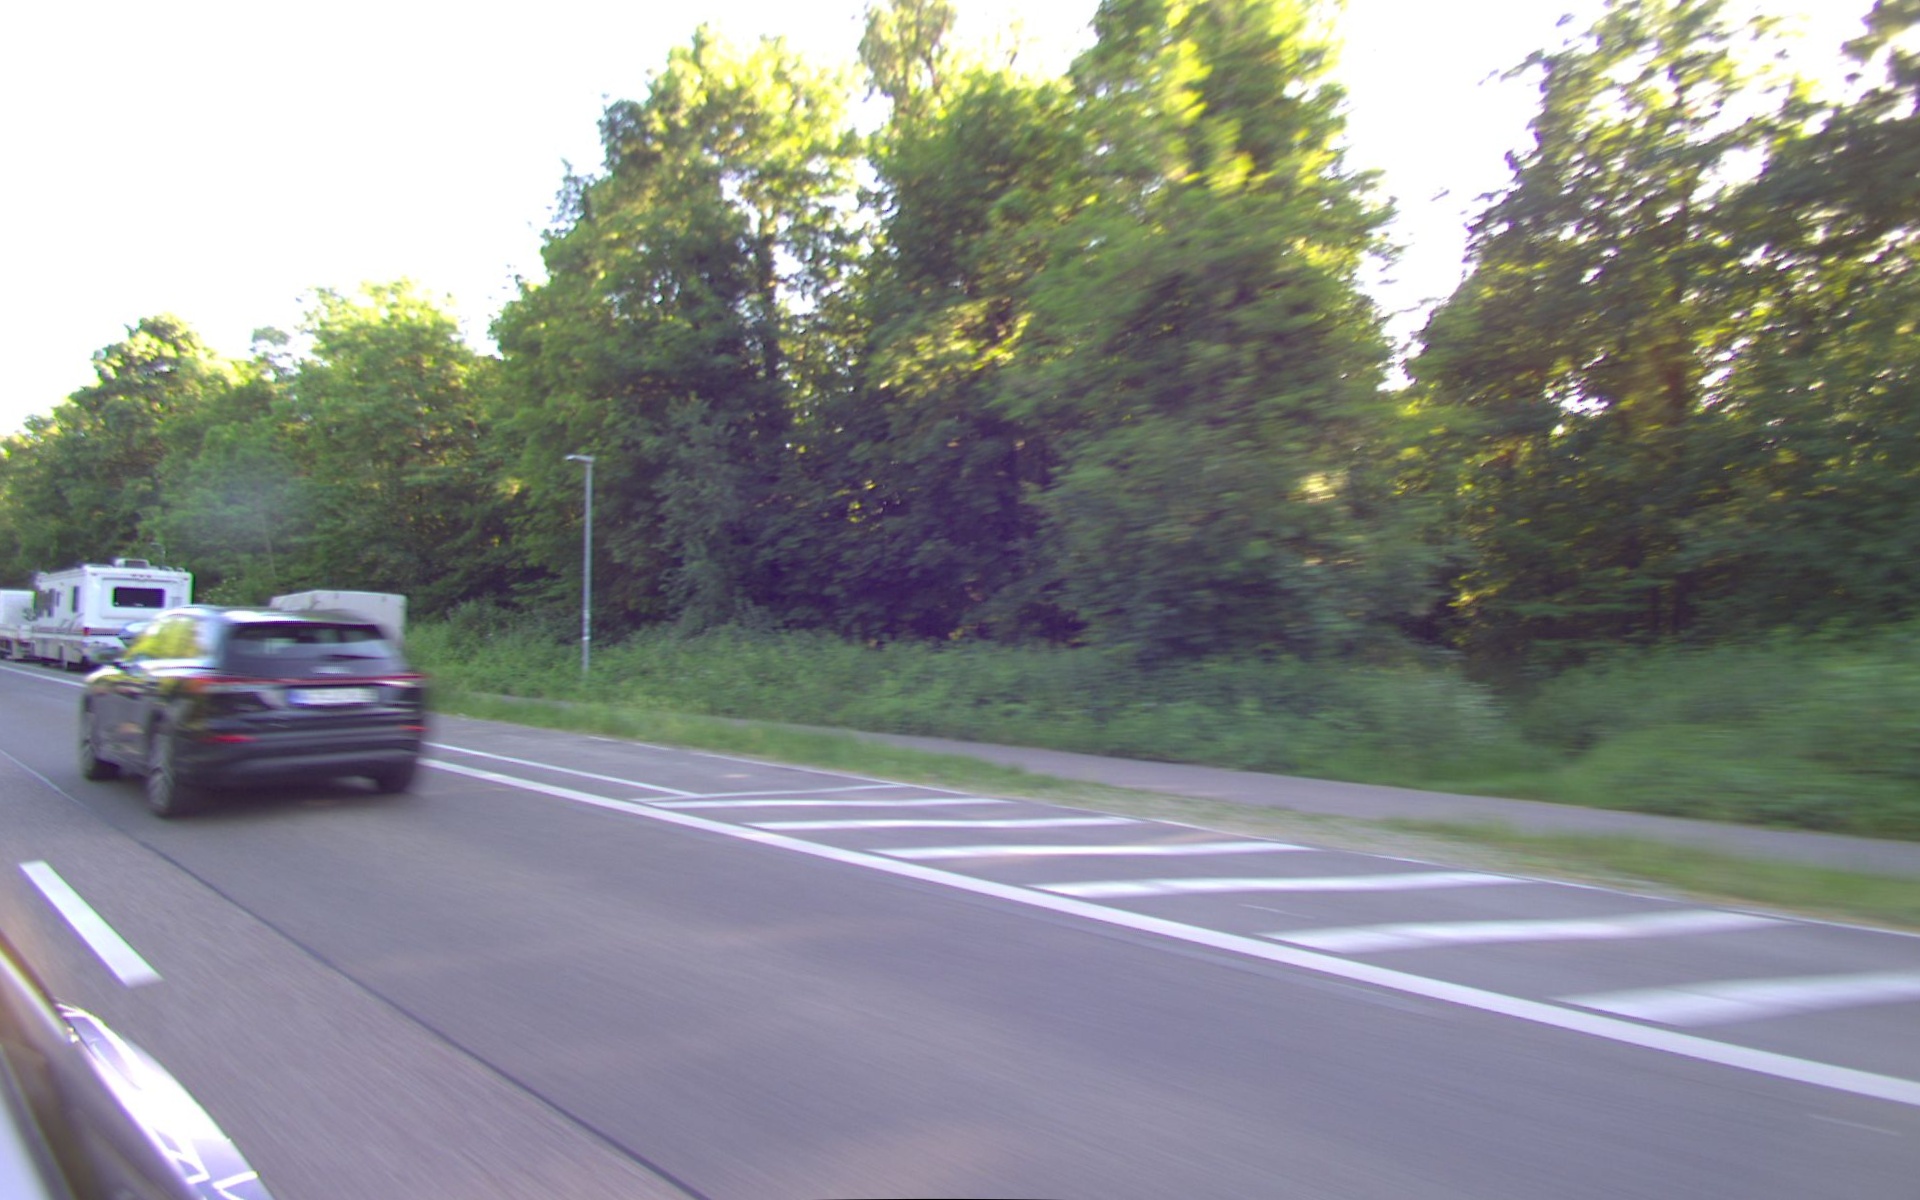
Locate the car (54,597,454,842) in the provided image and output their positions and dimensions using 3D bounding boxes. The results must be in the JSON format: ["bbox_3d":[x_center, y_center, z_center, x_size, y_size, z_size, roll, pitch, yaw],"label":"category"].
[{"bbox_3d":[-6.286,0.830,8.794,4.457,1.599,1.799,-1,-2,41],"label":"car"}]

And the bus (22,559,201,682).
[{"bbox_3d":[-28.191,0.629,33.349,11.193,3.456,2.799,-1,0,41],"label":"bus"}]

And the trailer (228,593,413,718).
[{"bbox_3d":[-11.638,0.991,18.347,3.559,2.029,1.833,-1,-4,41],"label":"trailer"}]

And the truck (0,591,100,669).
[{"bbox_3d":[-36.861,1.184,40.519,8.419,2.845,2.457,-2,-1,41],"label":"truck"}]

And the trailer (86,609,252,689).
[{"bbox_3d":[-21.616,1.266,27.531,6.260,1.929,2.403,-2,-1,41],"label":"trailer"}]
